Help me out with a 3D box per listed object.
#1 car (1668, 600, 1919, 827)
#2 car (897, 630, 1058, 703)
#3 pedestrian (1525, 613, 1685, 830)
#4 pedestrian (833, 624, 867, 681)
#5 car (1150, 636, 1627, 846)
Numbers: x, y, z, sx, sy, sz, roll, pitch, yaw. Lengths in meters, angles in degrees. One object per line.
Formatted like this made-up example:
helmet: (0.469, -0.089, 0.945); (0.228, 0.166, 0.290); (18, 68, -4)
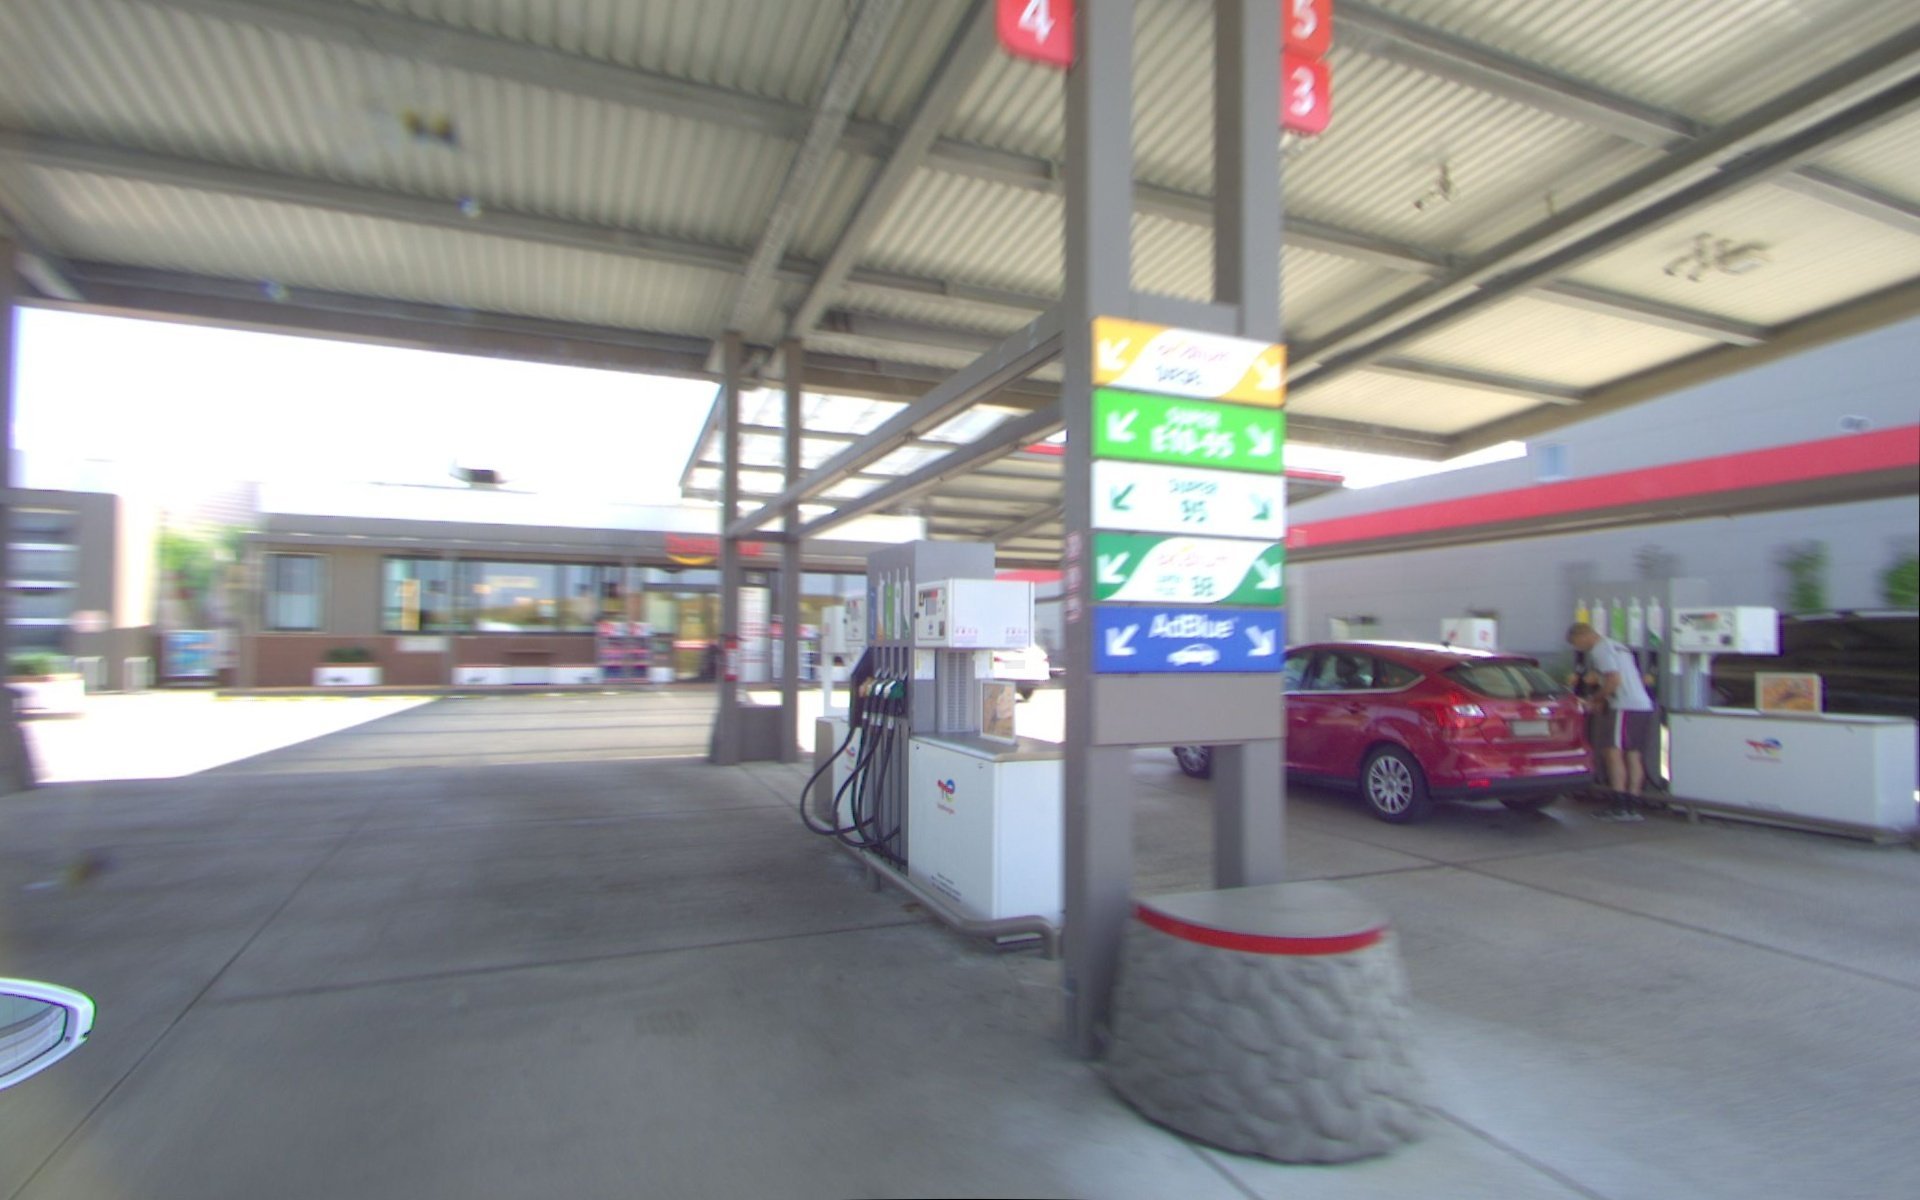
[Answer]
car: (9.007, 0.951, 8.314); (2.001, 1.875, 4.782); (1, -1, -23)
car: (0.287, 1.450, 22.971); (1.809, 1.475, 4.301); (1, -2, -29)
pedestrian: (5.477, 0.984, 8.541); (0.692, 1.724, 0.925); (1, -1, -22)
pedestrian: (-2.869, 1.360, 26.118); (0.692, 1.450, 0.670); (1, -1, -24)
car: (3.699, 1.113, 9.543); (1.676, 1.487, 4.220); (1, -2, -23)
